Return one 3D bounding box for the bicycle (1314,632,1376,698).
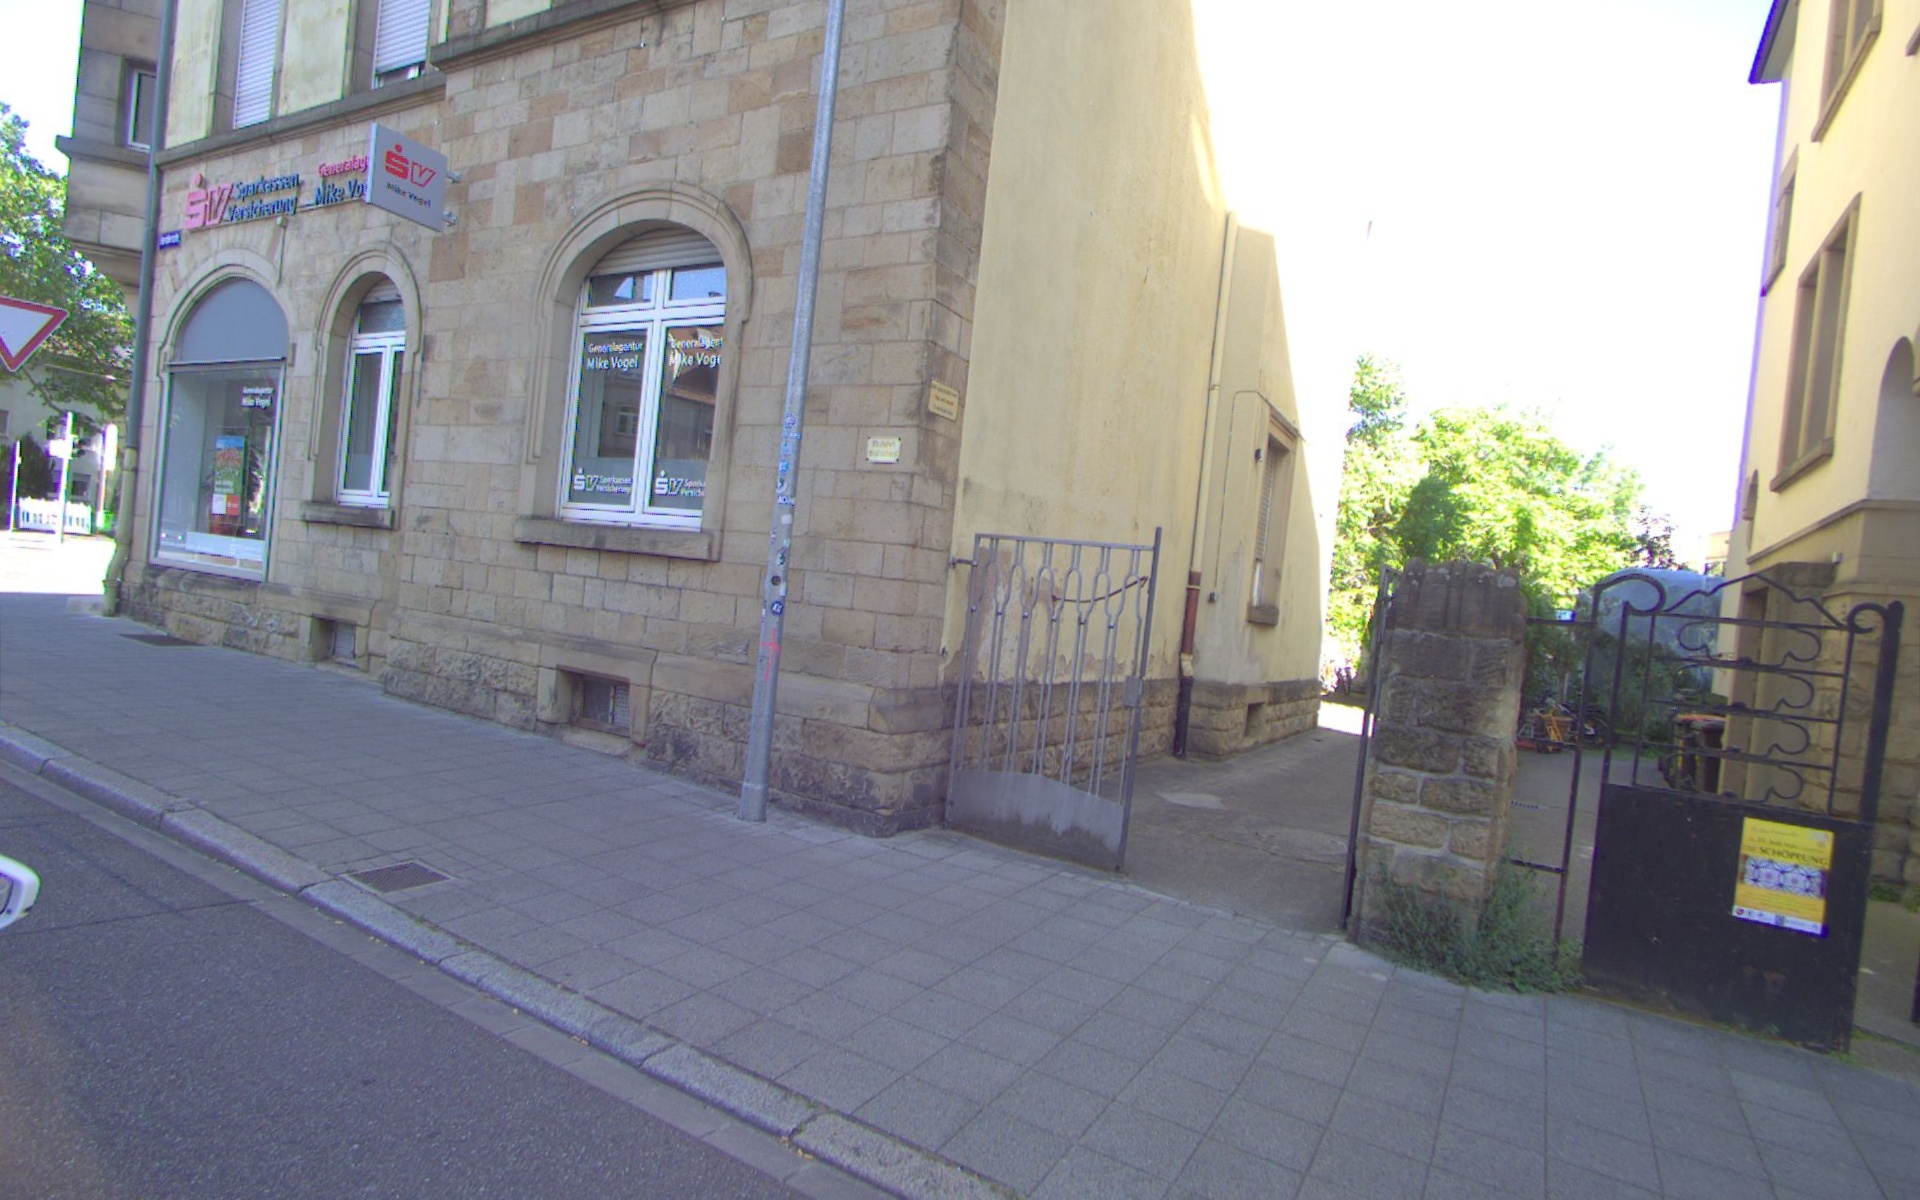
[{"bbox_3d":[9.968,1.644,25.978,0.904,1.532,2.667,6,2,31],"label":"bicycle"}]

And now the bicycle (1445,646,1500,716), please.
[{"bbox_3d":[12.586,1.939,24.648,0.904,1.532,2.667,6,2,31],"label":"bicycle"}]

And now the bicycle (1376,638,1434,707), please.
[{"bbox_3d":[11.201,1.780,25.262,0.904,1.532,2.667,6,2,31],"label":"bicycle"}]
